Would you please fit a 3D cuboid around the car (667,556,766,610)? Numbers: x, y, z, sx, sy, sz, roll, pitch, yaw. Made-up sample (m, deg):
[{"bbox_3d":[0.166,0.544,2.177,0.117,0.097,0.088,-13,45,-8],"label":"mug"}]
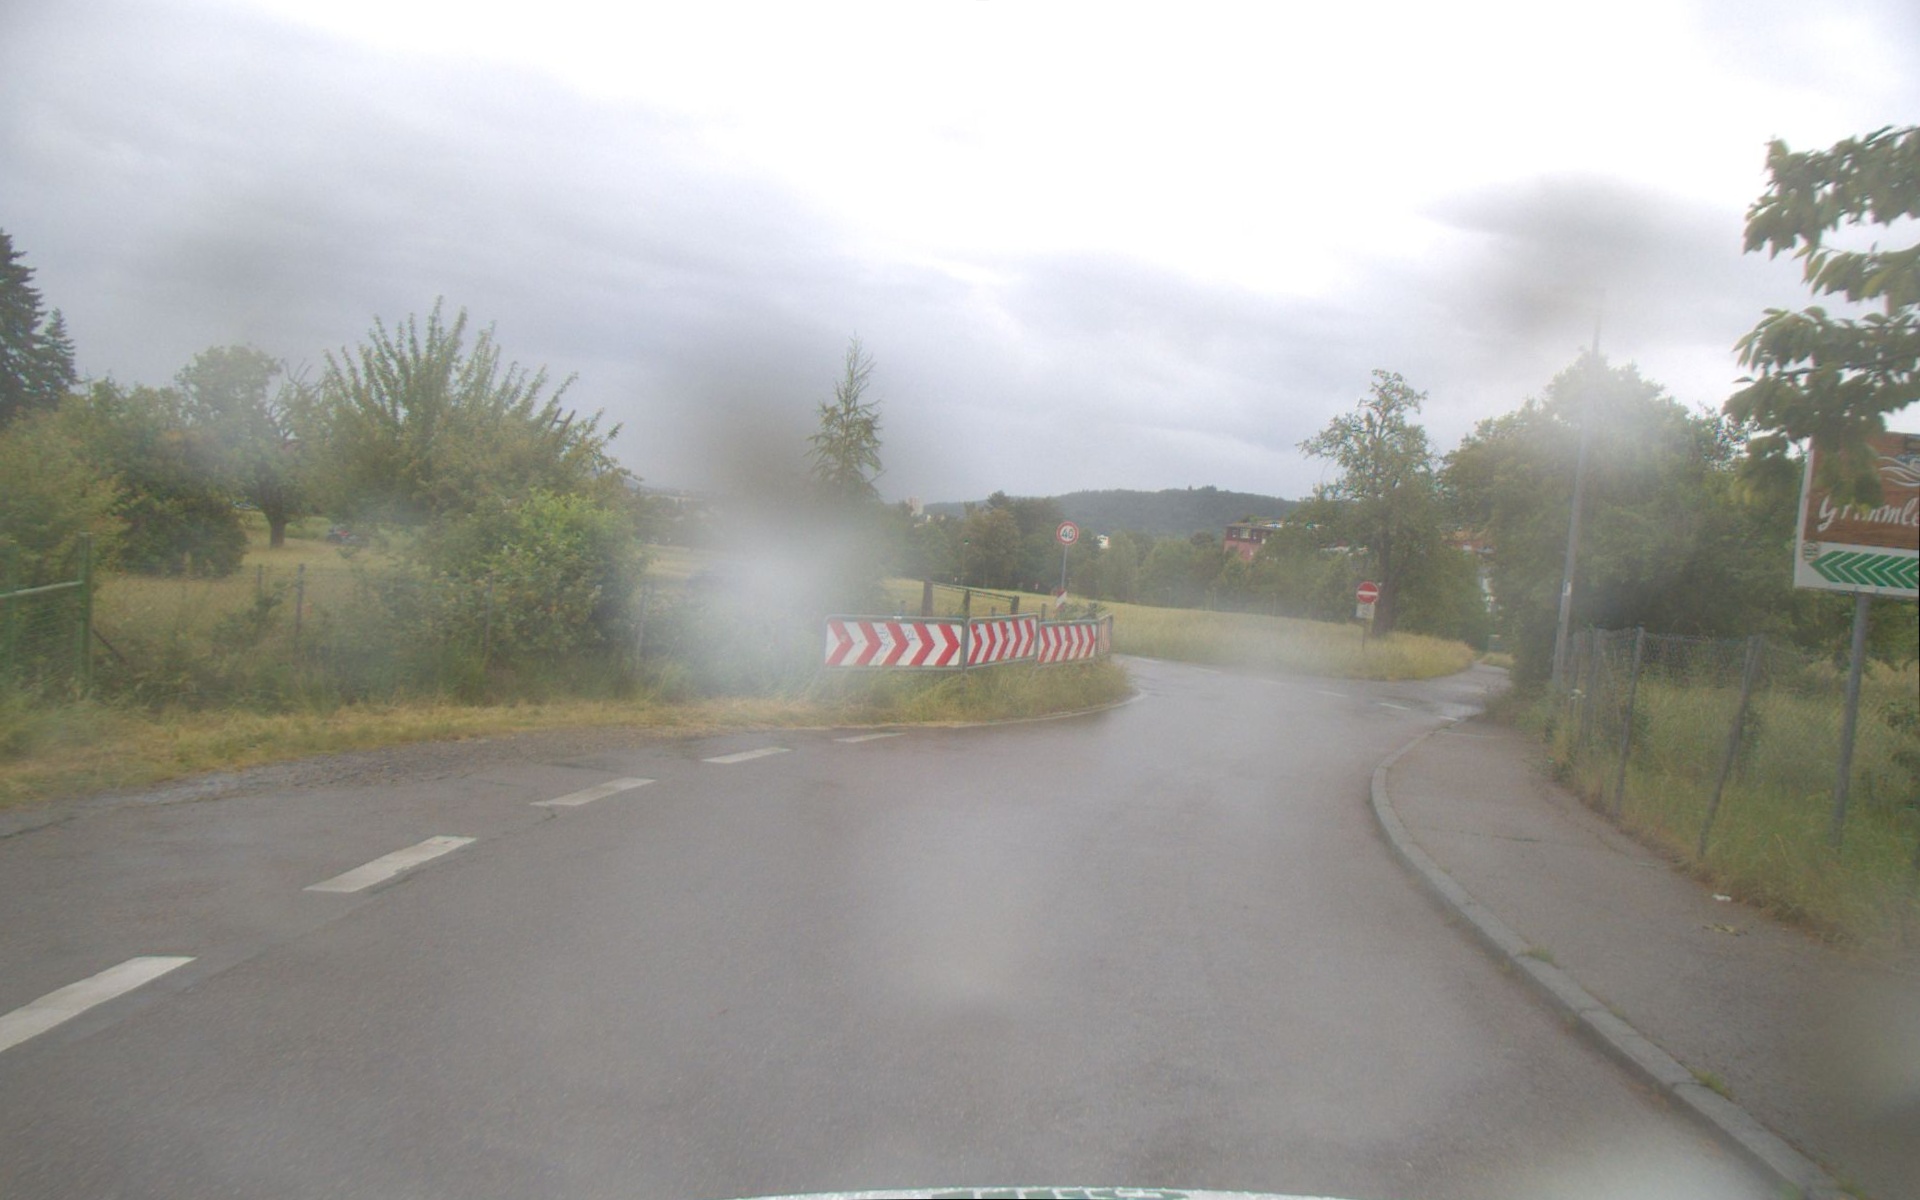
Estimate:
[{"bbox_3d":[-8.246,-0.600,55.702,1.797,1.621,3.957,3,1,-32],"label":"car"}]
